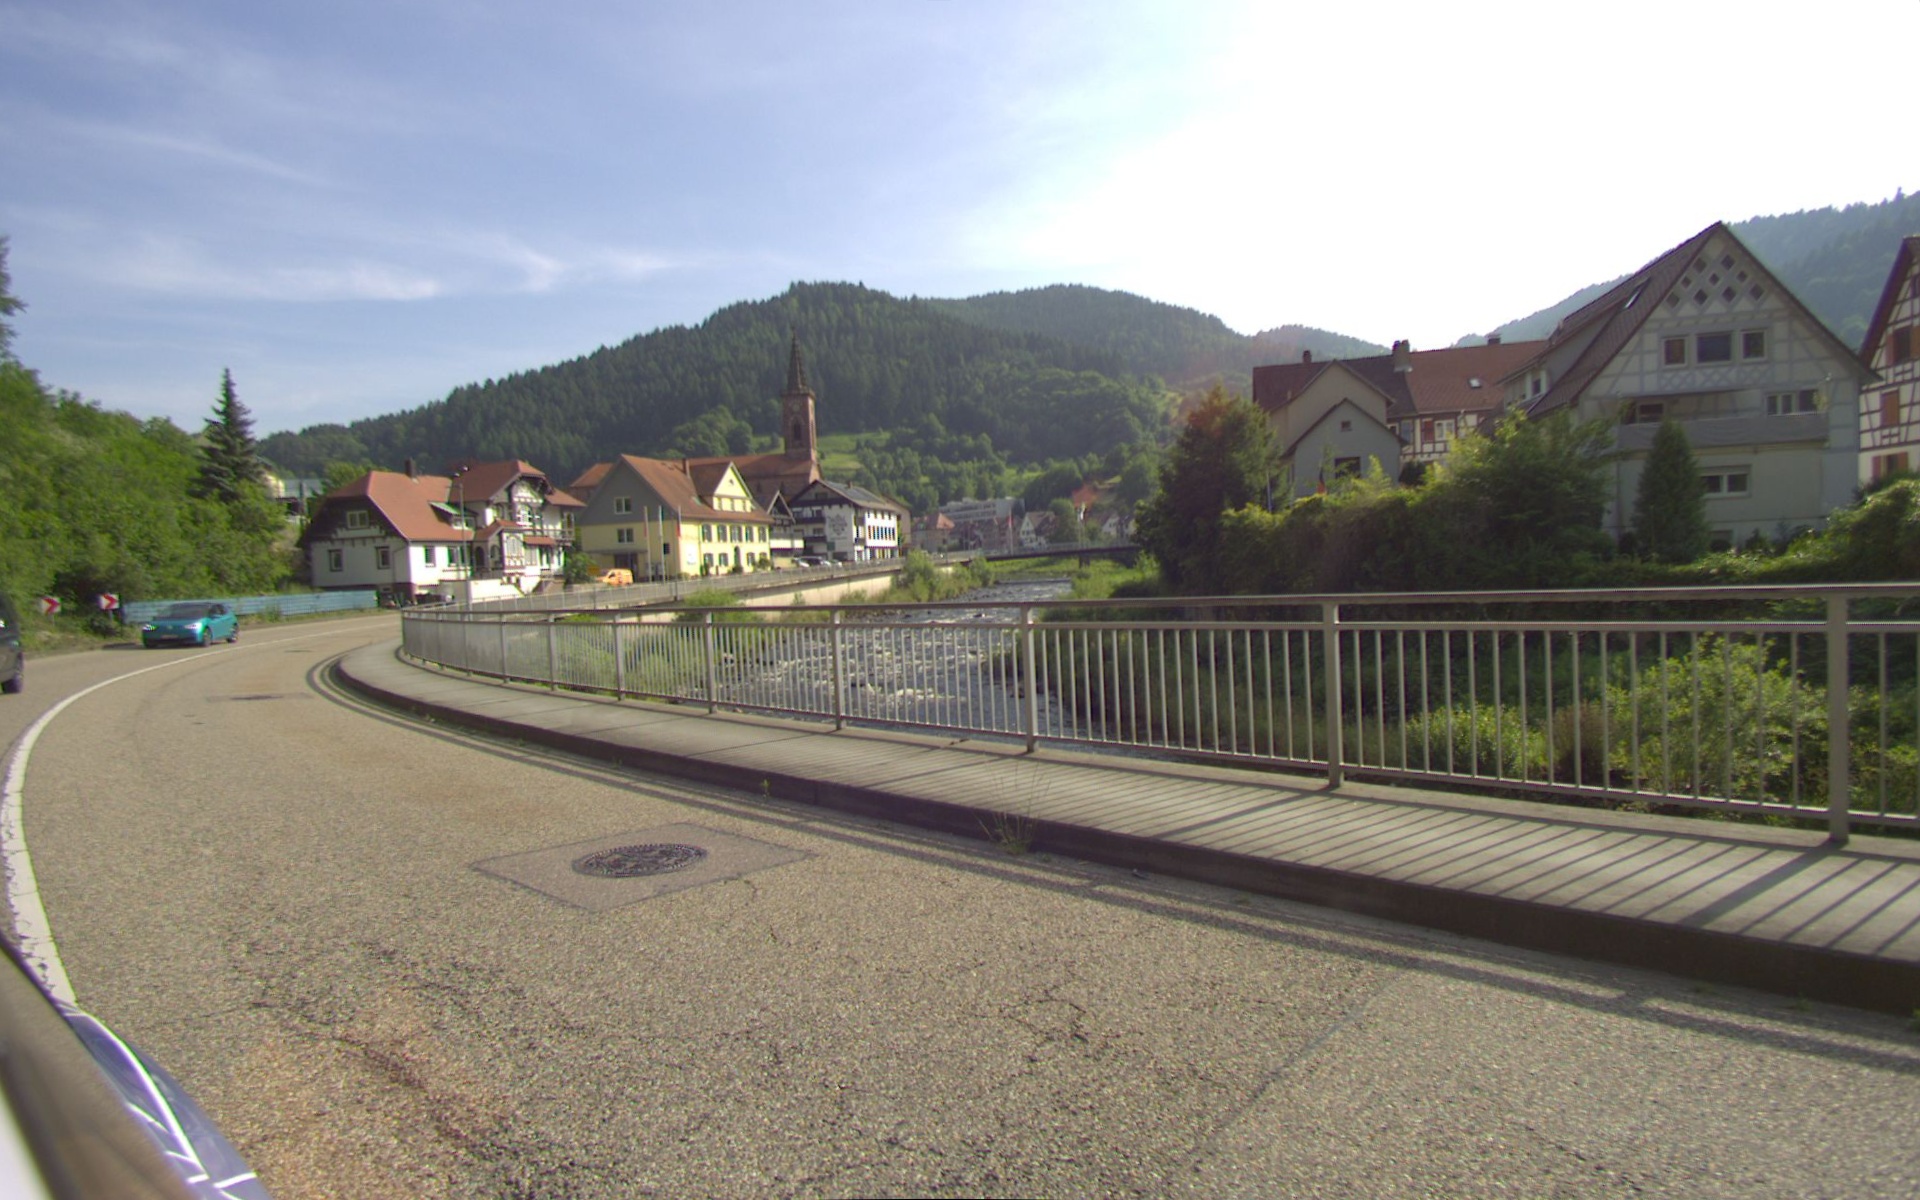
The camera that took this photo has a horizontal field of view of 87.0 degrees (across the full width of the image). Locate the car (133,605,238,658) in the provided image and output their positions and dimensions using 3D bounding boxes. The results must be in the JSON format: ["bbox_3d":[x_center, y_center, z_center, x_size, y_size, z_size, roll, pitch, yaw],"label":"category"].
[{"bbox_3d":[-27.382,1.066,35.906,1.655,1.533,3.878,-2,3,-17],"label":"car"}]

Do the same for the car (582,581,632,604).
[{"bbox_3d":[-32.176,-0.708,92.305,1.897,2.012,4.813,-2,1,14],"label":"car"}]

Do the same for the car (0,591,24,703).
[{"bbox_3d":[-17.603,0.837,17.158,1.858,1.979,4.878,-1,0,-35],"label":"car"}]

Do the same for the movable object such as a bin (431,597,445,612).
[{"bbox_3d":[-35.797,0.304,69.427,0.468,0.943,0.650,-3,2,10],"label":"movable object such as a bin"}]

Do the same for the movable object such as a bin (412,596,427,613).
[{"bbox_3d":[-37.266,0.301,69.815,0.473,1.070,0.750,-3,2,10],"label":"movable object such as a bin"}]

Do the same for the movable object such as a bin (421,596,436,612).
[{"bbox_3d":[-36.679,0.276,69.844,0.473,1.070,0.750,-3,2,10],"label":"movable object such as a bin"}]

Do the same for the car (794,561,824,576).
[{"bbox_3d":[-20.226,-4.222,135.773,3.727,1.907,1.364,2,4,17],"label":"car"}]

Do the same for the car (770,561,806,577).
[{"bbox_3d":[-22.671,-4.127,133.640,4.419,1.972,1.704,3,4,17],"label":"car"}]

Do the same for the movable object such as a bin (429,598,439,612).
[{"bbox_3d":[-36.243,0.343,69.707,0.364,0.906,0.547,-3,2,4],"label":"movable object such as a bin"}]
